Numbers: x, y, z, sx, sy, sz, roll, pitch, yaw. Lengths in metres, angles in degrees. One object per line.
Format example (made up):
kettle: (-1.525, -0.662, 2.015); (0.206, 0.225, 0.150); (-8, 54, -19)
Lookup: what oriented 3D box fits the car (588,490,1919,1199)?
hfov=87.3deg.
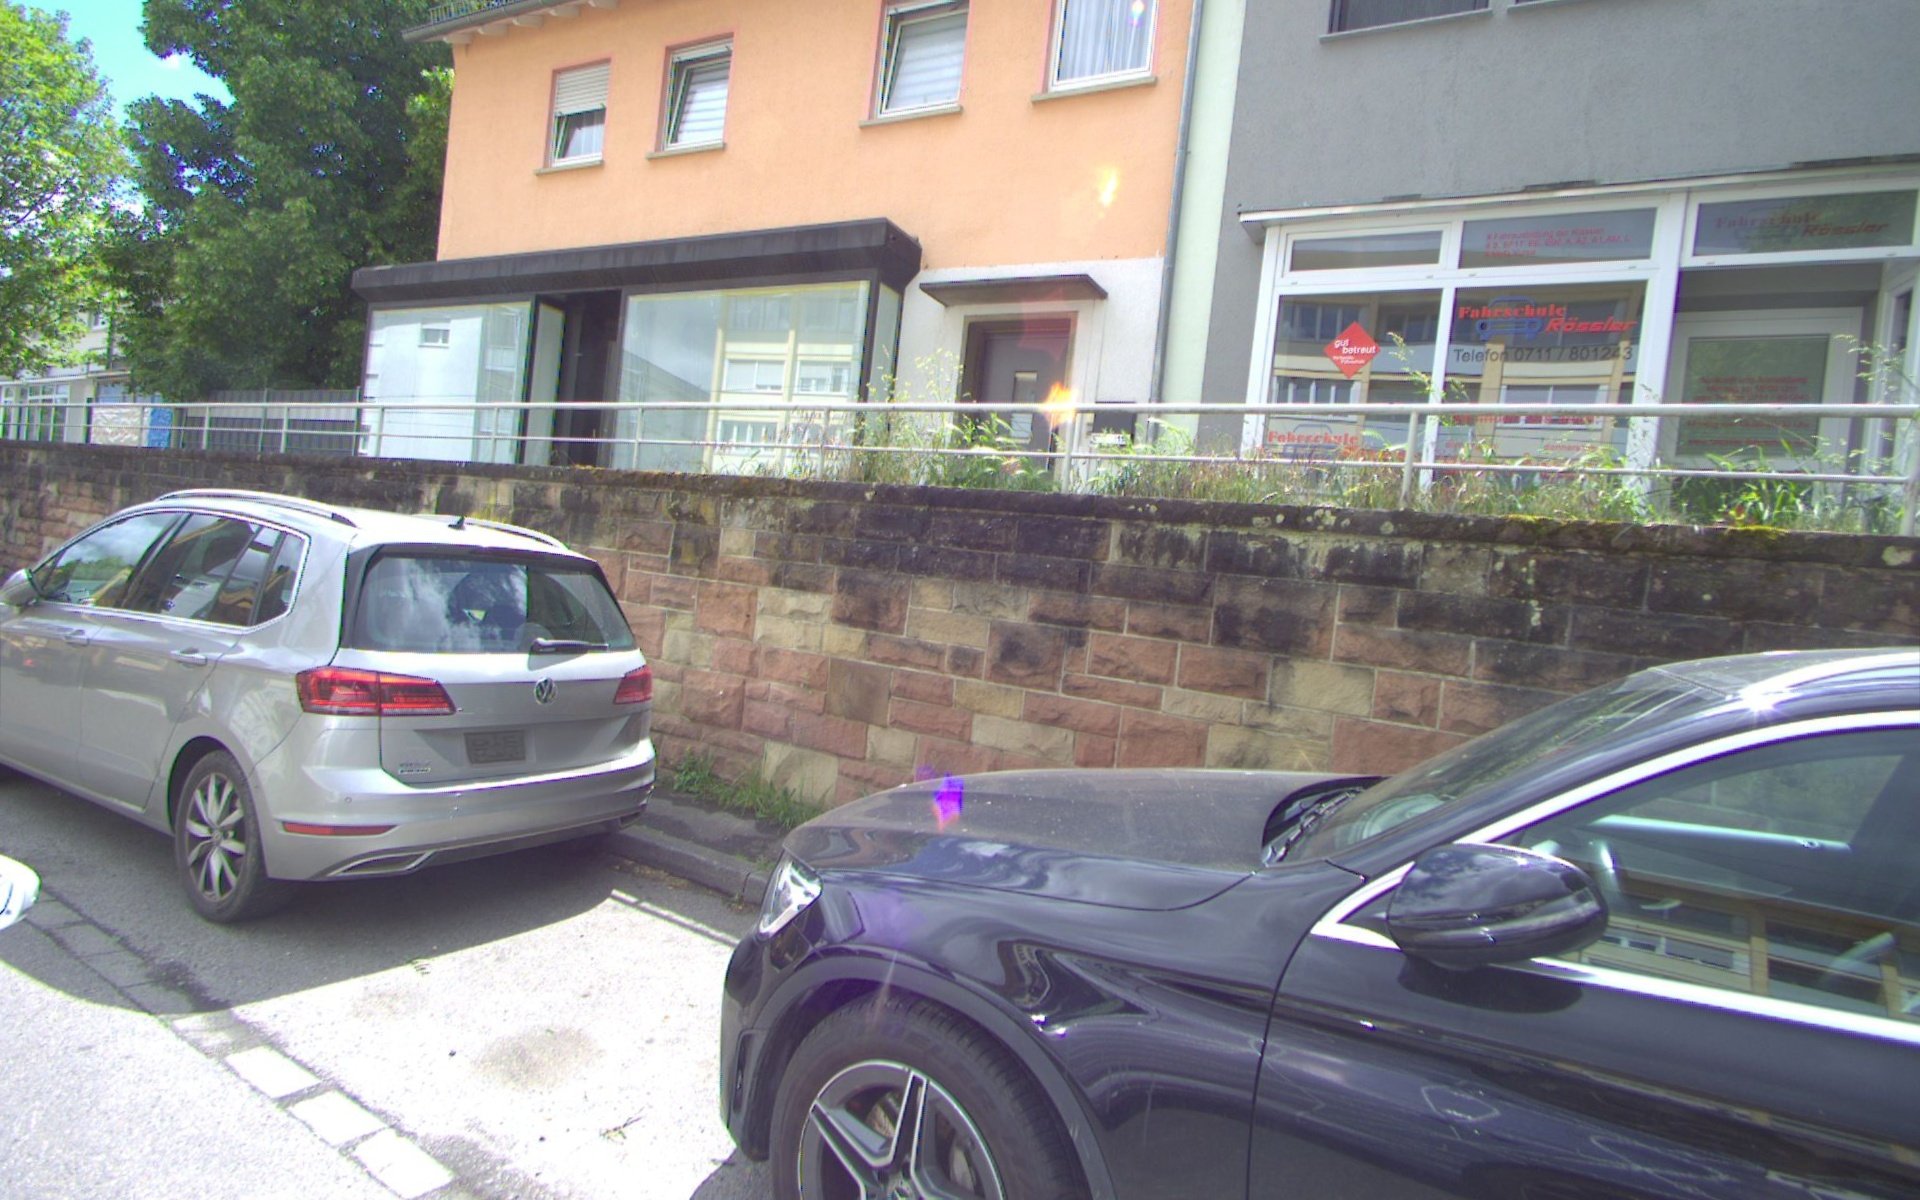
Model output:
car: (1.537, 0.824, 1.922); (4.373, 1.639, 1.791); (7, 2, 31)

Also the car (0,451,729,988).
car: (-3.389, 0.255, 5.021); (4.177, 1.638, 1.791); (7, 1, 31)
